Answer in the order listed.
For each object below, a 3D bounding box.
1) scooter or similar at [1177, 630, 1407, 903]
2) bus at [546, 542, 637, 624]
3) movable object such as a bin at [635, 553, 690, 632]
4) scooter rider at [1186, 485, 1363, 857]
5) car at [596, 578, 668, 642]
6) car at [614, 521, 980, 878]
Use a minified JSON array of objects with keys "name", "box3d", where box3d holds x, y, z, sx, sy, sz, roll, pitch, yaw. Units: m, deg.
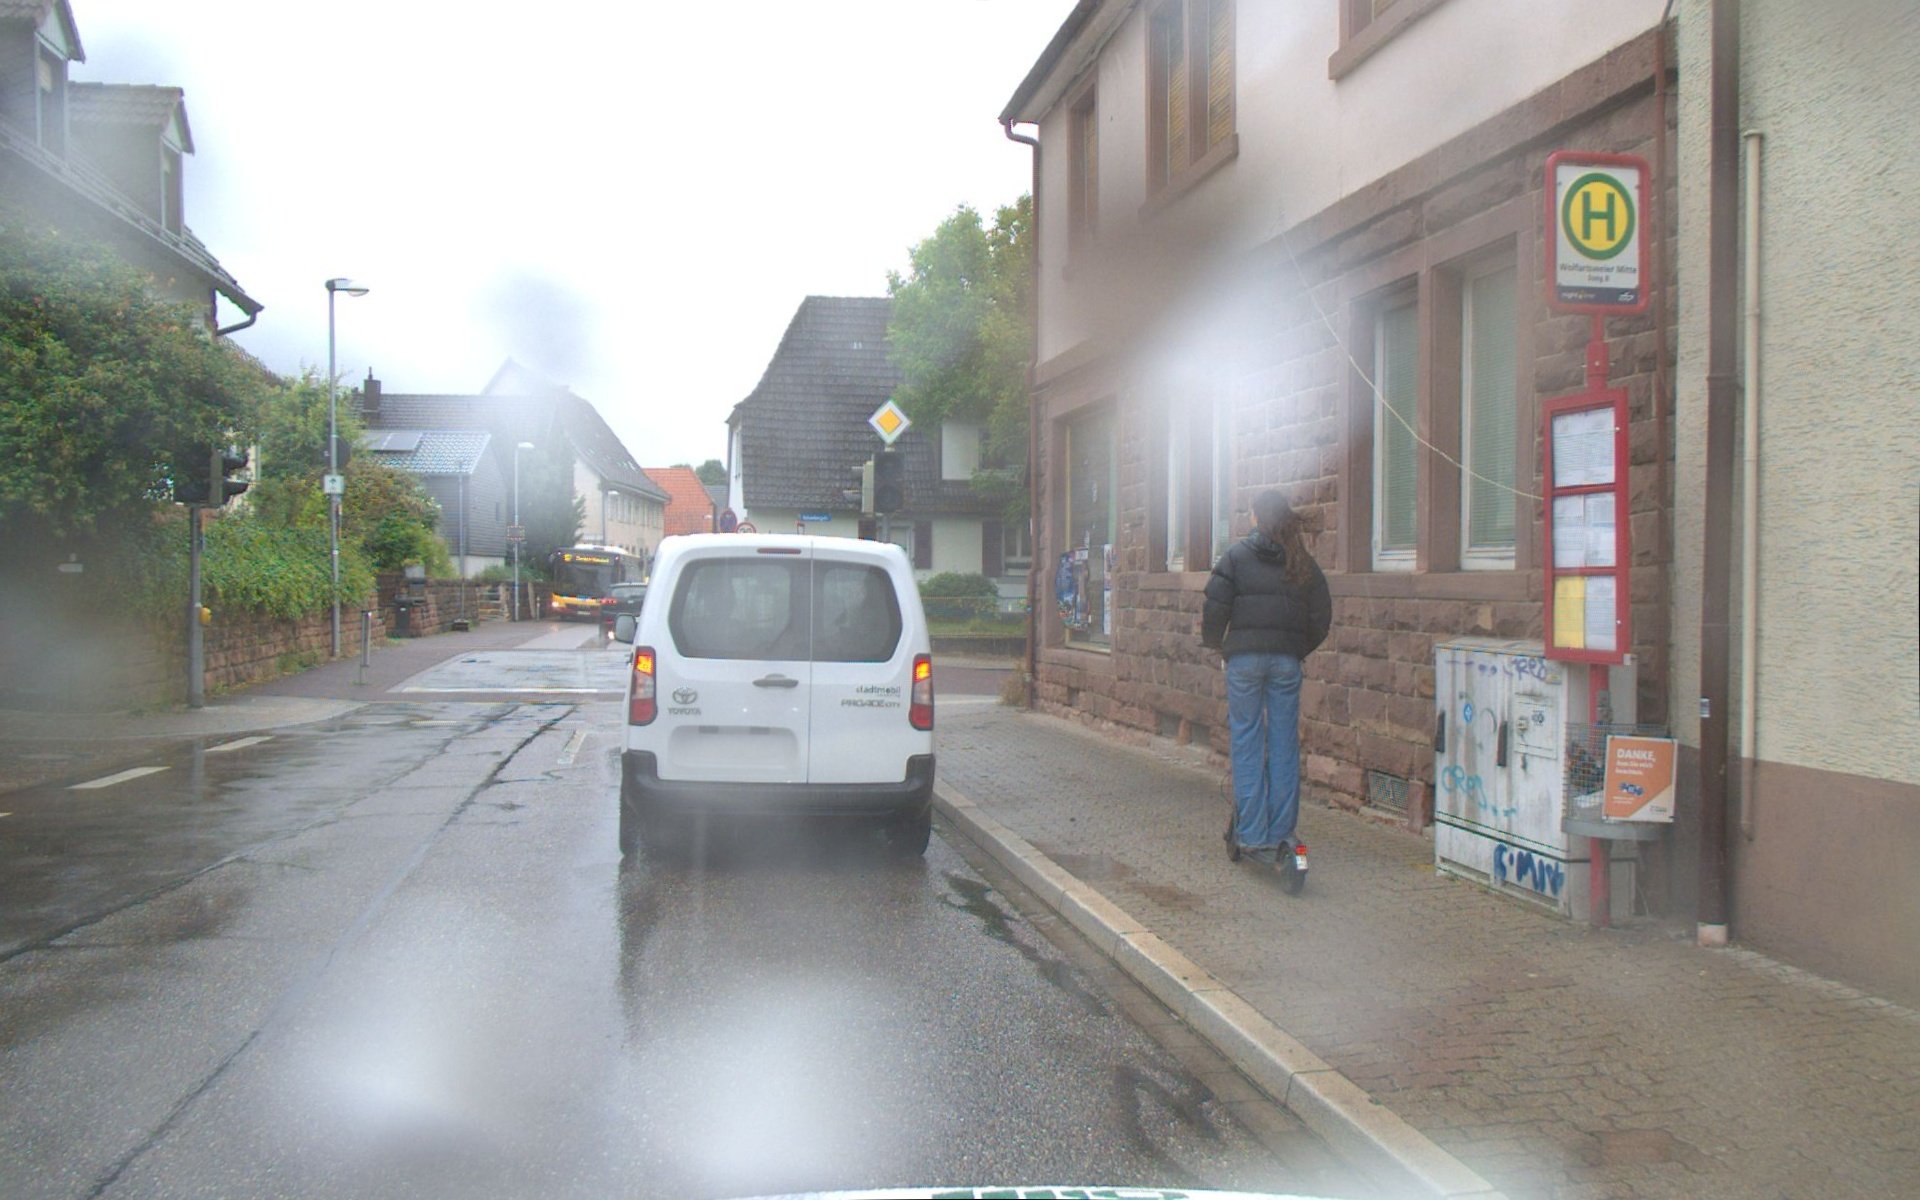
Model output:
[{"name":"scooter or similar","box3d":[1.565,0.746,8.016,0.609,1.146,1.398,0,1,-10]},{"name":"bus","box3d":[-15.122,-0.857,68.674,2.600,3.051,12.173,1,2,-8]},{"name":"movable object such as a bin","box3d":[-10.678,-0.284,59.555,1.694,2.699,3.967,2,0,-7]},{"name":"scooter rider","box3d":[1.543,0.338,8.158,0.718,1.763,0.517,0,-1,-11]},{"name":"car","box3d":[-8.883,0.235,45.005,1.776,1.624,3.747,2,0,-10]},{"name":"car","box3d":[-1.167,0.513,10.504,1.860,1.825,3.804,2,0,-10]}]
